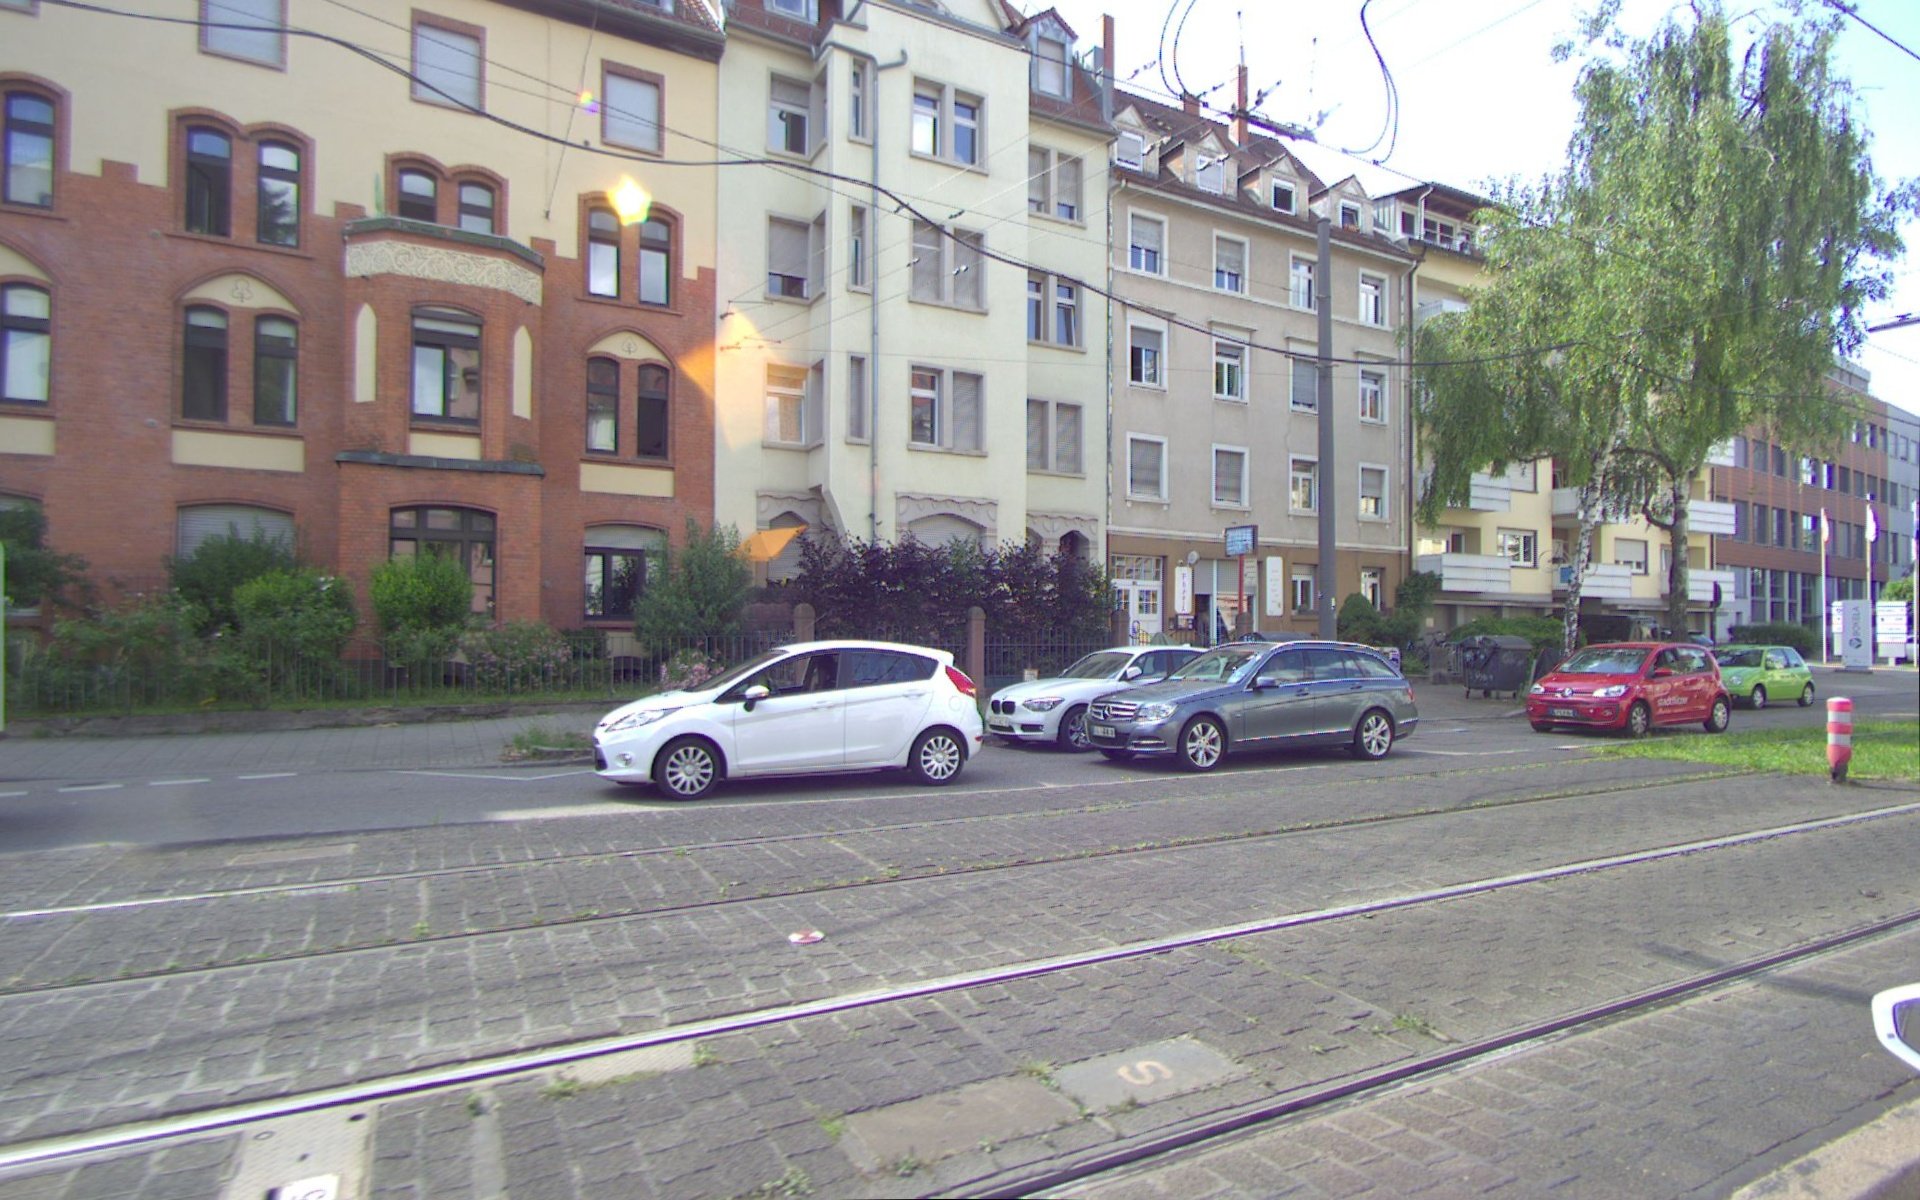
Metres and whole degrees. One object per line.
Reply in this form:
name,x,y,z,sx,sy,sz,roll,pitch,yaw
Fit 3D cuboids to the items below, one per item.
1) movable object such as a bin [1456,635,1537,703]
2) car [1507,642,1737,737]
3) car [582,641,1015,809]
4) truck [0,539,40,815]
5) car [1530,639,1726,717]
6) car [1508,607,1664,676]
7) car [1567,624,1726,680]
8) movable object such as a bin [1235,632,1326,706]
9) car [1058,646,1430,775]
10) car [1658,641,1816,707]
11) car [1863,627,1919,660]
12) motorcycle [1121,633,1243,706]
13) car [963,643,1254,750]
movable object such as a bin,12.249,1.552,22.947,1.503,1.449,0.947,1,1,-28
car,10.883,1.394,16.491,3.645,1.405,1.573,1,-2,-28
car,-1.639,1.160,10.262,4.075,1.433,1.751,1,-3,-24
truck,-10.614,0.568,6.444,6.519,2.243,2.180,1,-2,-24
car,14.106,1.575,21.183,4.172,1.497,1.639,1,-2,-28
car,20.565,1.316,33.195,1.910,2.040,3.976,1,0,-24
car,22.949,1.682,33.727,1.948,1.623,3.972,1,0,-27
movable object such as a bin,6.447,1.354,20.206,1.503,1.385,0.947,1,1,-28
car,3.577,1.279,12.520,4.453,1.373,1.750,1,-4,-26
car,18.353,1.689,23.716,3.568,1.451,1.588,1,-2,-27
car,48.778,2.215,51.022,1.977,1.617,3.968,1,-2,-30
motorcycle,4.134,1.246,18.616,2.271,1.259,0.895,1,-1,-34
car,2.181,1.318,14.685,3.942,1.374,1.749,1,-2,-26
